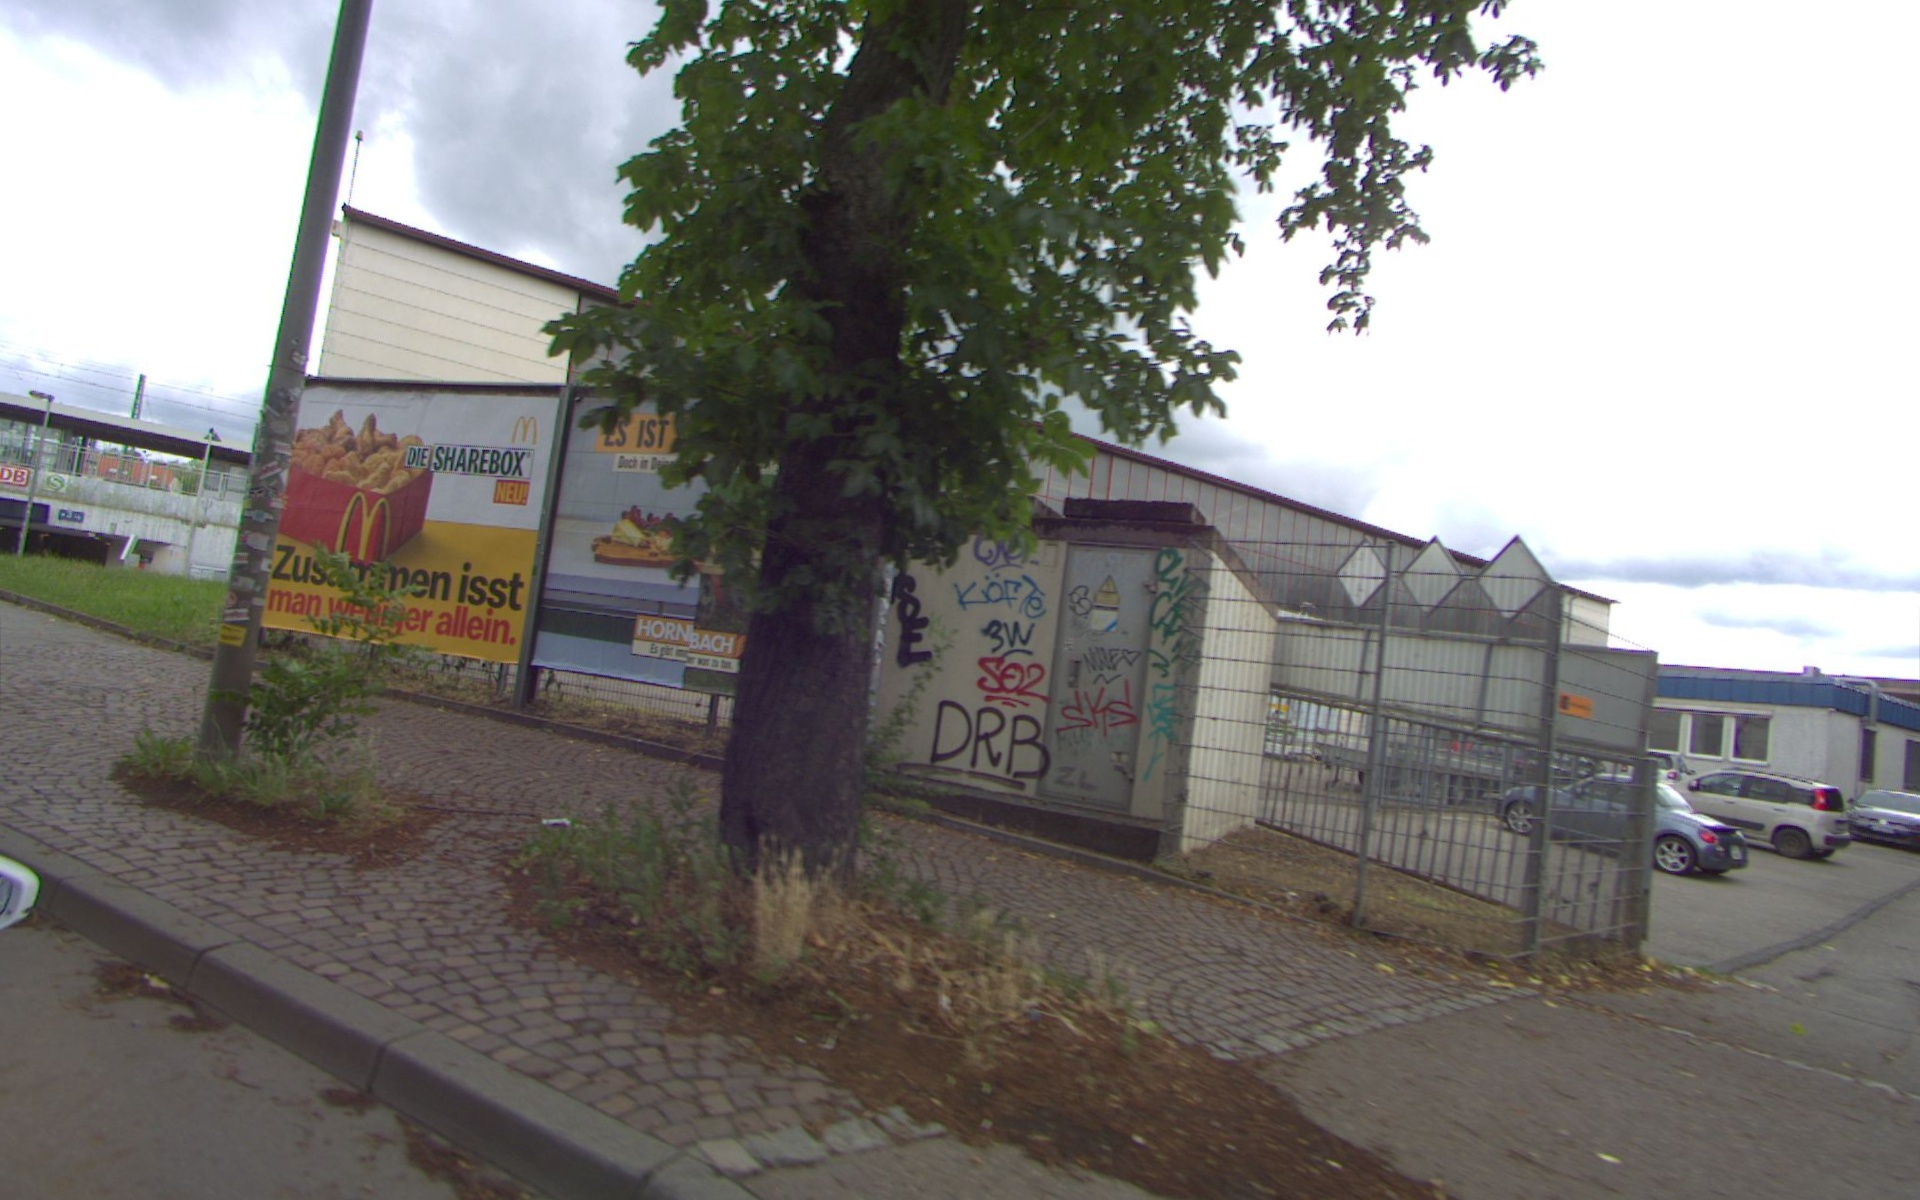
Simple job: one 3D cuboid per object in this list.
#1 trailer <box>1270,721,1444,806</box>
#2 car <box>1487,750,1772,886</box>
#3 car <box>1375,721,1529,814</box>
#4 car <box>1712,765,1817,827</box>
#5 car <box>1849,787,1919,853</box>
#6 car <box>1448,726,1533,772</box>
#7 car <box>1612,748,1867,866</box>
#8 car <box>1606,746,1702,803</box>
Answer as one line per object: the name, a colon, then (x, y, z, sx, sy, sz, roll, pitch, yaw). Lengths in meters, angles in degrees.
trailer: (7.653, 3.150, 19.408, 2.613, 1.149, 1.836, 11, -4, -30)
car: (10.396, 3.353, 15.830, 1.458, 1.267, 3.339, 9, -1, -34)
car: (10.087, 3.432, 20.597, 2.825, 1.456, 1.361, 10, -2, -29)
car: (22.806, 5.564, 28.472, 3.659, 1.346, 1.514, 11, -3, -39)
car: (24.647, 5.770, 26.261, 3.698, 1.346, 1.514, 11, -3, -39)
car: (19.185, 5.389, 36.322, 3.286, 1.222, 1.325, 11, -3, -36)
car: (16.067, 4.227, 20.917, 1.551, 1.550, 3.776, 8, -1, -34)
car: (21.331, 5.373, 30.906, 3.286, 1.346, 1.325, 11, -3, -36)
